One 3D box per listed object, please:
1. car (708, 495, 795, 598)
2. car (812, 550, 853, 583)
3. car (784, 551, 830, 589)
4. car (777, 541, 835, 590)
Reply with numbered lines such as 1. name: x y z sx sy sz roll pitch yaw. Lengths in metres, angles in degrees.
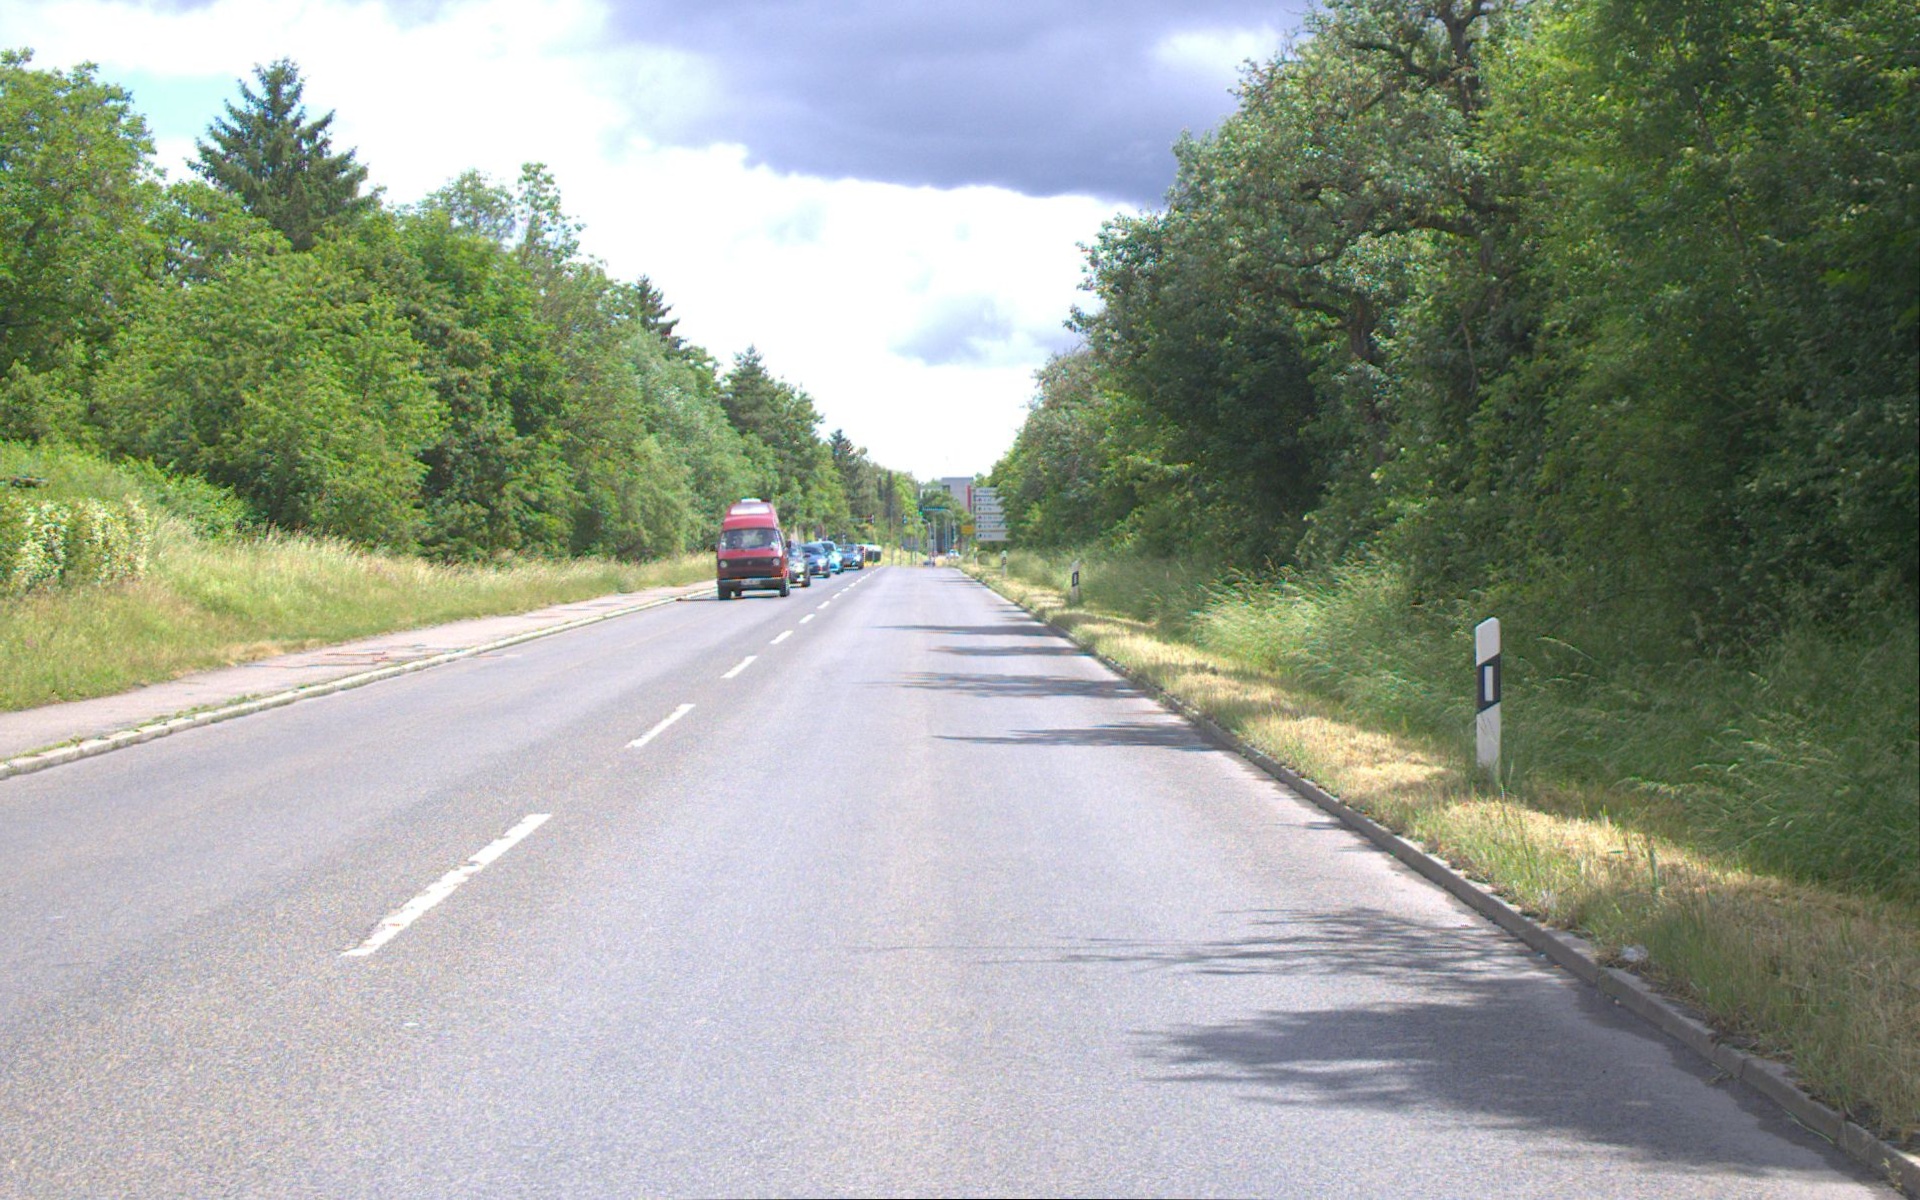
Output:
1. car: -5.439 -1.407 90.207 1.969 2.541 4.725 -3 1 -1
2. car: -5.788 -1.531 156.685 1.784 1.441 2.966 -3 1 -2
3. car: -6.278 -1.241 141.715 1.784 1.441 4.453 -3 1 -2
4. car: -4.971 -1.129 111.190 1.716 1.466 4.000 -3 1 -1
